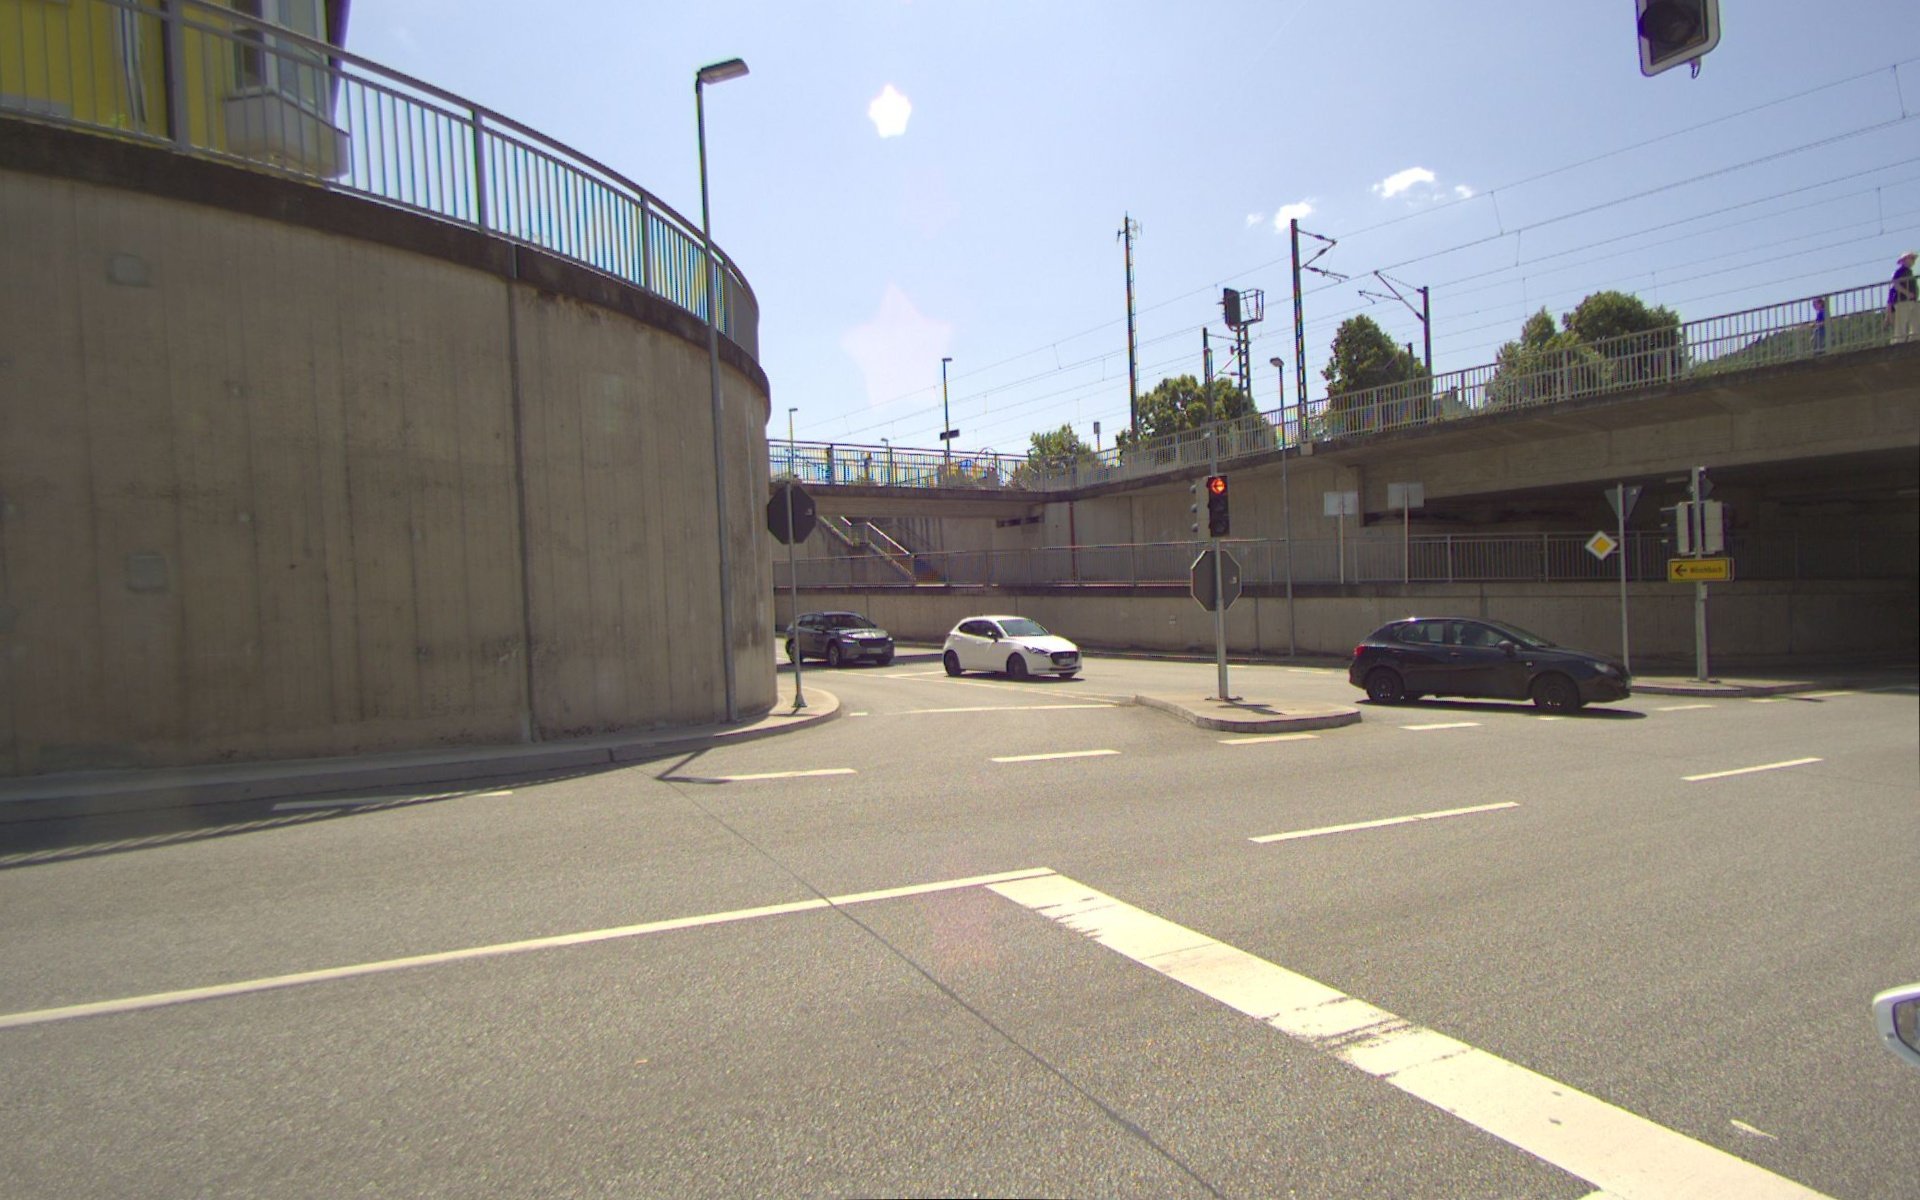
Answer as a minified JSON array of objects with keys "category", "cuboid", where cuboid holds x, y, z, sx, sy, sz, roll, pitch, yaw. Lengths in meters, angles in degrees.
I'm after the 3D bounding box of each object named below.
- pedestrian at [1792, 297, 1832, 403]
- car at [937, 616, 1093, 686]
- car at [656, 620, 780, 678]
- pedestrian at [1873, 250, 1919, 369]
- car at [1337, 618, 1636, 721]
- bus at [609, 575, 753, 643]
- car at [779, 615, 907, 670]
[{"category":"pedestrian","cuboid":[18.556,-5.435,21.886,0.530,2.108,0.535,1,-1,-36]},{"category":"car","cuboid":[1.244,1.158,24.231,1.711,1.451,3.871,-2,1,-35]},{"category":"car","cuboid":[-7.164,1.390,29.487,1.983,1.493,4.080,-2,0,-39]},{"category":"pedestrian","cuboid":[18.261,-5.620,19.506,0.526,2.108,0.576,0,-1,-17]},{"category":"car","cuboid":[8.321,1.010,16.043,3.941,1.393,1.758,-1,1,41]},{"category":"bus","cuboid":[-14.920,0.445,52.680,2.567,3.215,12.237,-2,1,-39]},{"category":"car","cuboid":[-3.644,1.268,30.725,1.983,1.493,4.080,-2,0,-39]}]
